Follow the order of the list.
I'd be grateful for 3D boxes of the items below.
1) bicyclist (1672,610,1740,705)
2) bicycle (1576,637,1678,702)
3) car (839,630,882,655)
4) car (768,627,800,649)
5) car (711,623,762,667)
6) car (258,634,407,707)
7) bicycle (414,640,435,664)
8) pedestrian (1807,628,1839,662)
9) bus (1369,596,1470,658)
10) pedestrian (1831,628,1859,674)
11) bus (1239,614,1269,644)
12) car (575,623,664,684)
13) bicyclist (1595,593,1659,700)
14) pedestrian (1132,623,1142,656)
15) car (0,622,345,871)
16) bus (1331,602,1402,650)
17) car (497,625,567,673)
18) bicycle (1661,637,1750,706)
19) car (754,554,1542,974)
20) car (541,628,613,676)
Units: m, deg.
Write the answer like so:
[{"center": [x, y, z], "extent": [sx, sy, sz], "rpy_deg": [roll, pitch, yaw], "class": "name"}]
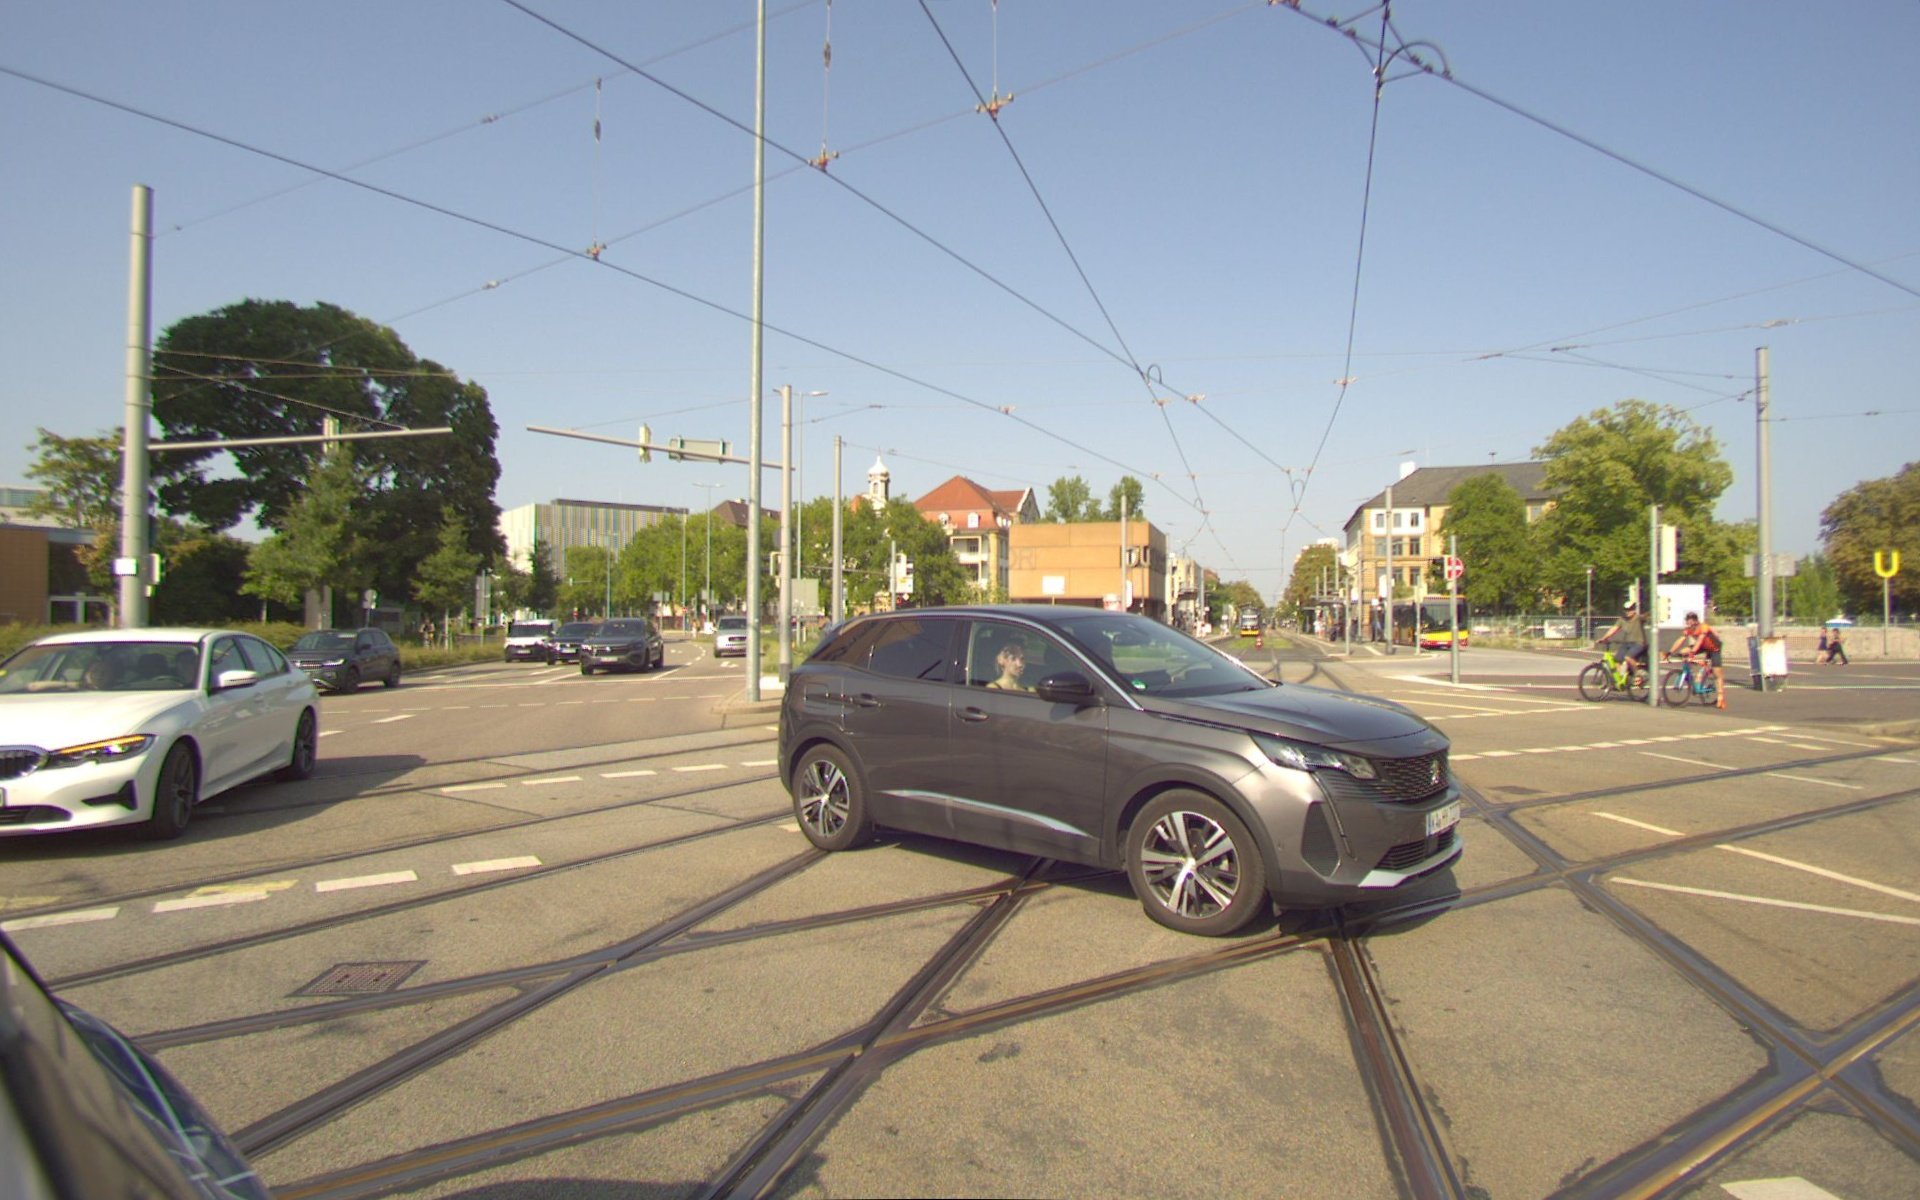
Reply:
[{"center": [13.177, 1.008, 17.888], "extent": [0.794, 1.642, 0.513], "rpy_deg": [0, -1, -11], "class": "bicyclist"}, {"center": [12.583, 1.292, 19.099], "extent": [1.829, 1.174, 0.378], "rpy_deg": [0, -1, -10], "class": "bicycle"}, {"center": [-6.396, 2.685, 64.523], "extent": [1.752, 1.519, 4.013], "rpy_deg": [1, -2, -21], "class": "car"}, {"center": [-11.958, 2.562, 68.647], "extent": [1.468, 1.462, 3.535], "rpy_deg": [1, -2, -21], "class": "car"}, {"center": [-9.636, 1.924, 43.867], "extent": [1.921, 1.720, 4.298], "rpy_deg": [-2, -2, -10], "class": "car"}, {"center": [-15.292, 1.663, 24.914], "extent": [1.716, 1.594, 3.983], "rpy_deg": [-1, -2, -9], "class": "car"}, {"center": [-27.106, 2.636, 51.258], "extent": [0.395, 1.203, 1.776], "rpy_deg": [0, -2, -10], "class": "bicycle"}, {"center": [33.821, 1.756, 39.685], "extent": [0.762, 1.302, 0.555], "rpy_deg": [-1, -2, 17], "class": "pedestrian"}, {"center": [26.651, 1.628, 59.430], "extent": [3.195, 3.203, 13.249], "rpy_deg": [-1, -2, 15], "class": "bus"}, {"center": [34.065, 1.962, 38.977], "extent": [0.636, 1.774, 0.441], "rpy_deg": [-1, -2, 17], "class": "pedestrian"}, {"center": [35.458, 3.532, 122.342], "extent": [3.195, 3.445, 13.249], "rpy_deg": [-1, -2, 15], "class": "bus"}, {"center": [-10.587, 1.623, 31.749], "extent": [1.895, 1.720, 4.297], "rpy_deg": [-2, -2, -8], "class": "car"}, {"center": [12.602, 0.866, 19.130], "extent": [0.794, 1.989, 0.582], "rpy_deg": [0, -1, -11], "class": "bicyclist"}, {"center": [9.528, 2.132, 54.507], "extent": [0.400, 1.782, 0.555], "rpy_deg": [-1, -2, 20], "class": "pedestrian"}, {"center": [-6.591, 0.917, 8.036], "extent": [1.784, 1.438, 4.788], "rpy_deg": [0, -2, -17], "class": "car"}, {"center": [29.540, 1.974, 74.172], "extent": [3.195, 3.203, 13.249], "rpy_deg": [-1, -2, 15], "class": "bus"}, {"center": [-18.622, 2.106, 44.244], "extent": [1.766, 1.901, 4.297], "rpy_deg": [-2, -2, -8], "class": "car"}, {"center": [13.176, 1.258, 17.883], "extent": [1.474, 1.174, 0.312], "rpy_deg": [0, -1, -10], "class": "bicycle"}, {"center": [0.837, 0.703, 6.170], "extent": [4.357, 1.633, 1.971], "rpy_deg": [-2, -2, 43], "class": "car"}, {"center": [-15.167, 2.014, 40.273], "extent": [1.740, 1.720, 4.297], "rpy_deg": [-2, -2, -8], "class": "car"}]
